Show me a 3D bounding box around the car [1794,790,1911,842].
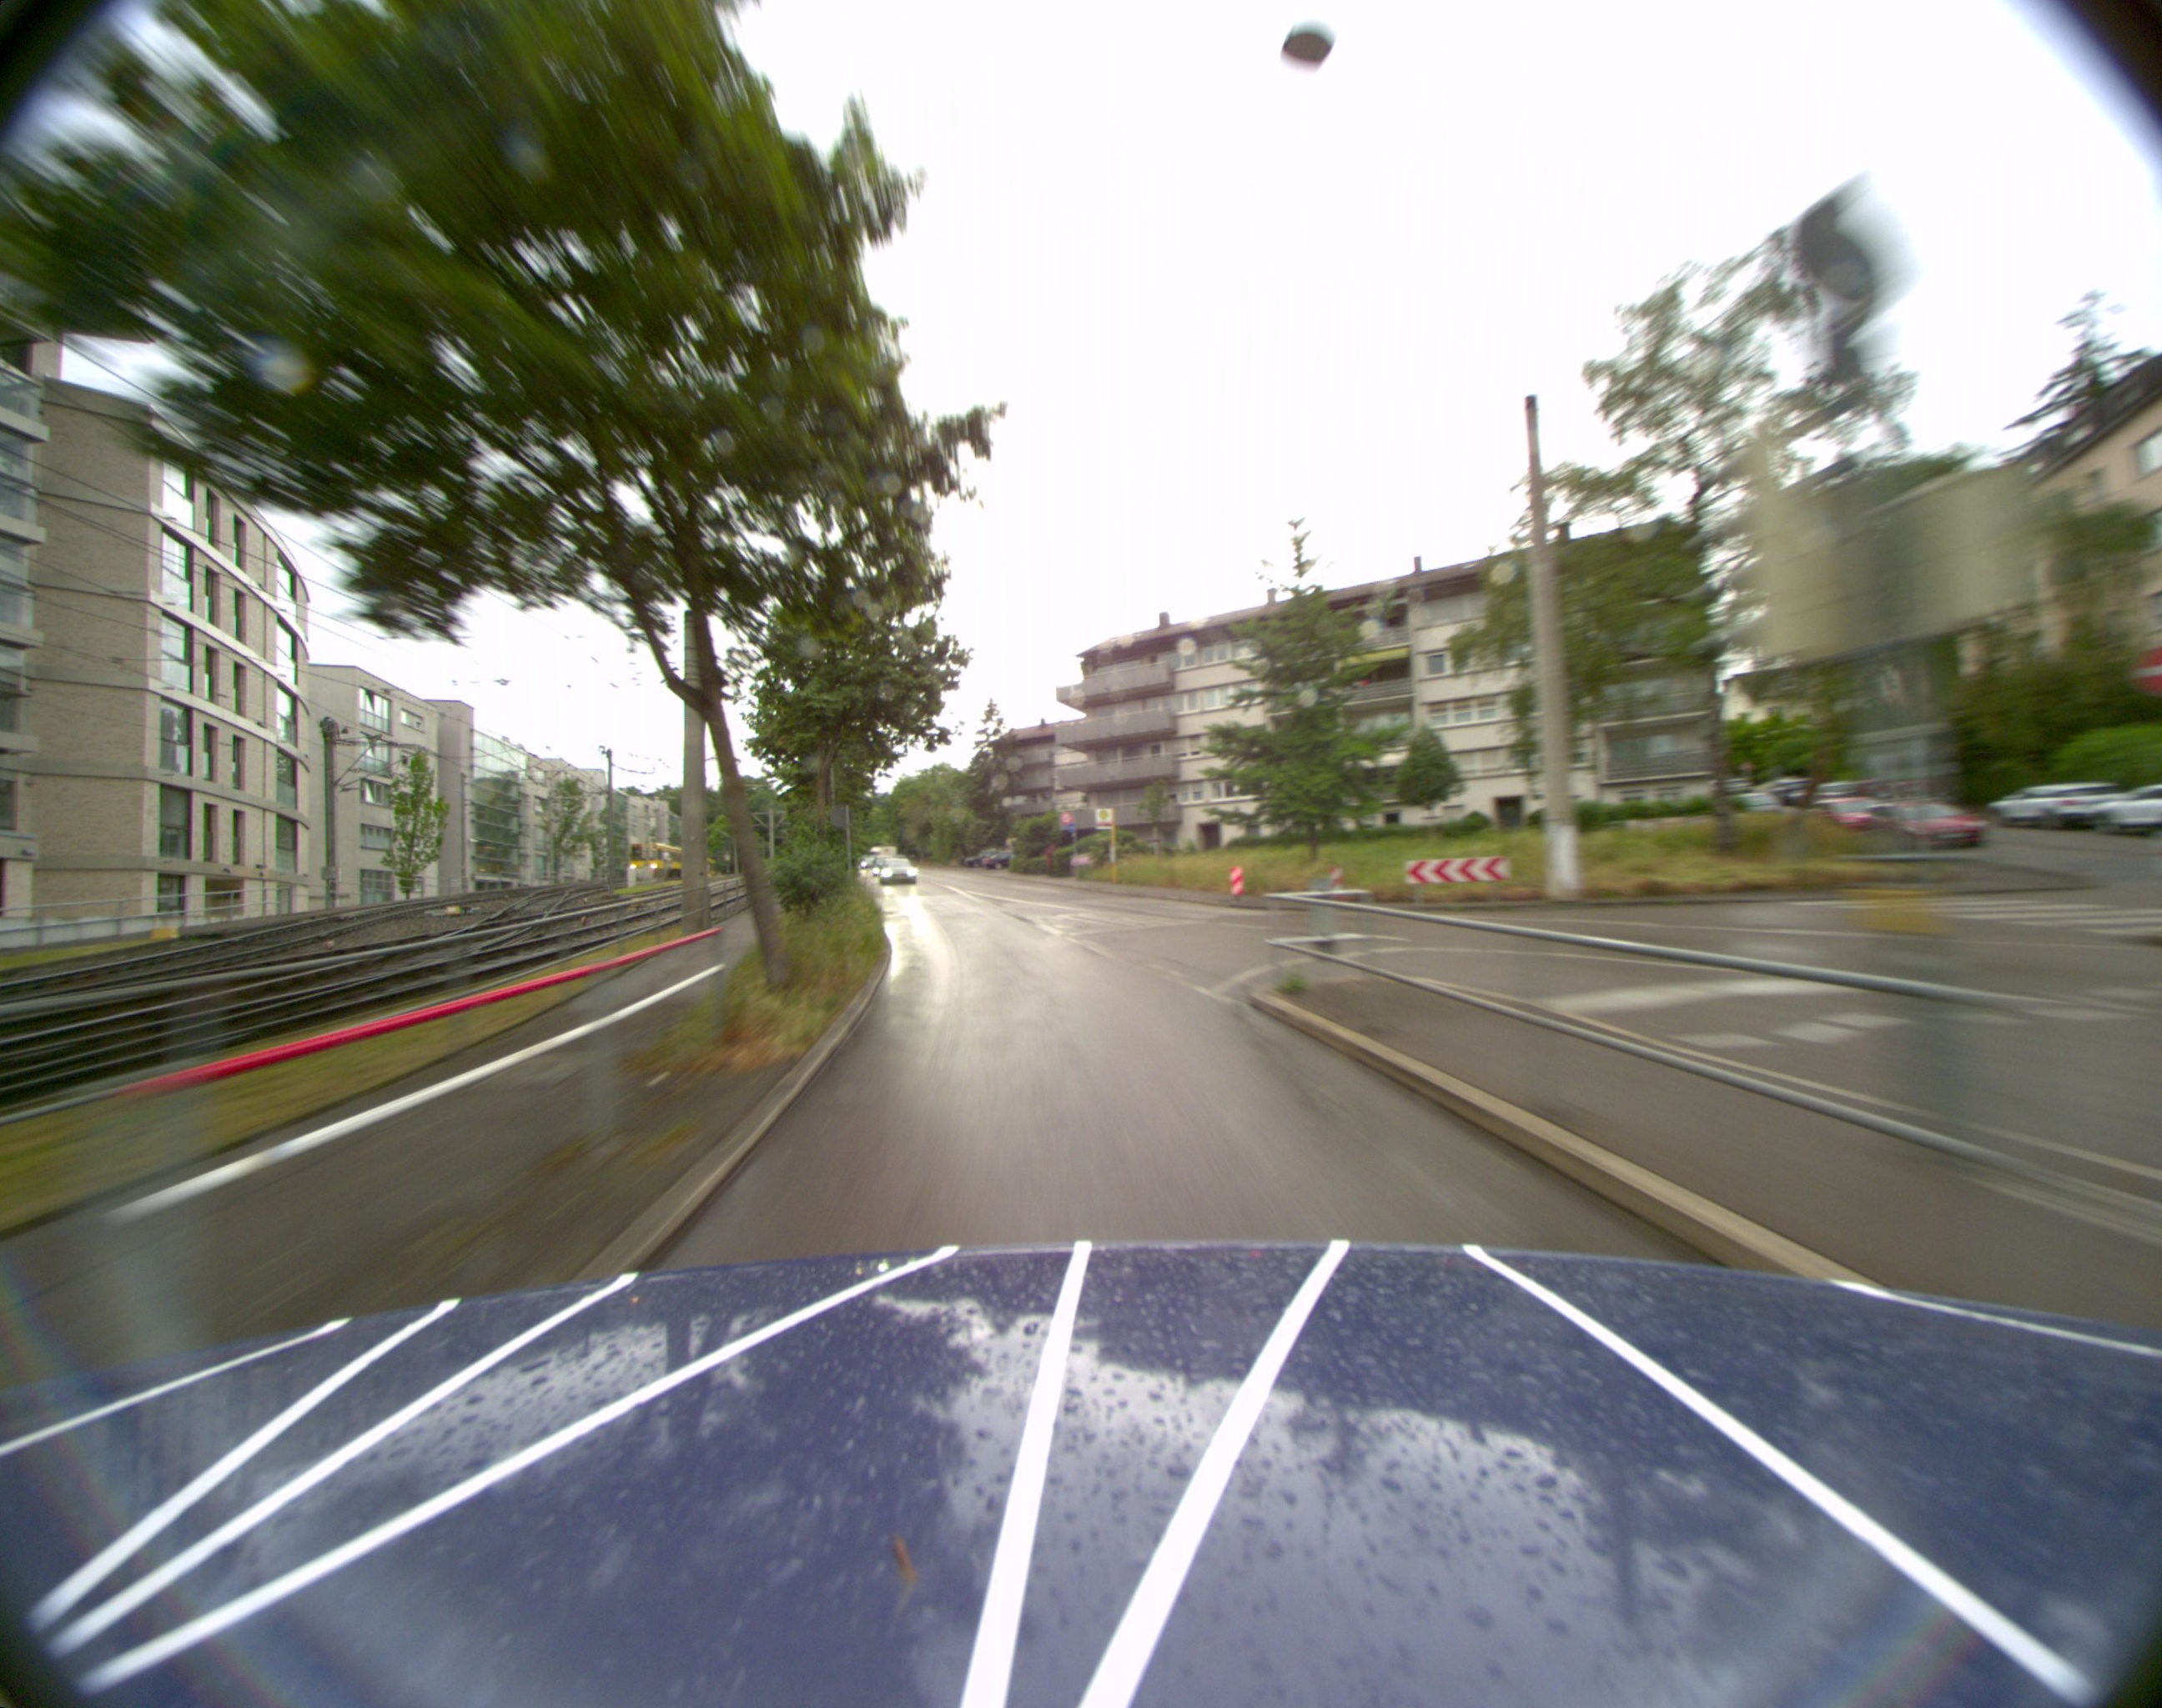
[{"bbox_3d":[30.608,-1.475,30.322,1.801,1.824,4.290,-3,1,24],"label":"car"}]

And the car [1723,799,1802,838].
[{"bbox_3d":[35.563,-1.839,39.775,1.801,1.824,4.290,-3,1,24],"label":"car"}]

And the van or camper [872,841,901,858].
[{"bbox_3d":[-47.381,-1.127,185.288,2.883,3.915,8.154,-1,1,19],"label":"van or camper"}]

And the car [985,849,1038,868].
[{"bbox_3d":[-6.309,0.351,68.819,4.502,1.481,1.845,-3,2,-16],"label":"car"}]

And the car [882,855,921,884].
[{"bbox_3d":[-10.499,0.924,44.248,1.864,1.469,3.995,-4,-1,-17],"label":"car"}]

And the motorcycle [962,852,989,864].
[{"bbox_3d":[-11.619,0.434,83.944,2.810,1.265,1.278,-2,2,-2],"label":"motorcycle"}]

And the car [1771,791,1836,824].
[{"bbox_3d":[43.874,-2.770,46.224,1.677,1.824,3.672,-3,1,24],"label":"car"}]

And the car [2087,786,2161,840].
[{"bbox_3d":[32.538,-1.244,22.259,1.995,1.584,4.363,-2,1,27],"label":"car"}]

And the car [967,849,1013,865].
[{"bbox_3d":[-9.408,0.303,78.345,4.446,1.519,1.772,-2,1,-16],"label":"car"}]

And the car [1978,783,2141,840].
[{"bbox_3d":[34.985,-1.454,27.368,1.801,1.824,4.290,-1,1,24],"label":"car"}]

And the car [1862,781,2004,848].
[{"bbox_3d":[28.476,-1.261,25.575,1.995,2.002,4.007,-2,0,30],"label":"car"}]

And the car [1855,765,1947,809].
[{"bbox_3d":[39.550,-3.170,36.758,1.677,1.824,3.672,-3,1,24],"label":"car"}]

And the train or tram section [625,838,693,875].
[{"bbox_3d":[-45.096,0.265,81.865,3.209,3.540,14.481,-2,1,-17],"label":"train or tram section"}]

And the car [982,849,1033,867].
[{"bbox_3d":[-6.873,0.352,71.127,4.447,1.519,1.771,-2,1,-19],"label":"car"}]

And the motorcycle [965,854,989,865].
[{"bbox_3d":[-11.233,0.555,82.221,2.463,1.102,0.660,-2,1,-10],"label":"motorcycle"}]

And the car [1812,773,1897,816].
[{"bbox_3d":[40.982,-3.116,40.371,1.995,2.002,4.006,-2,1,27],"label":"car"}]
